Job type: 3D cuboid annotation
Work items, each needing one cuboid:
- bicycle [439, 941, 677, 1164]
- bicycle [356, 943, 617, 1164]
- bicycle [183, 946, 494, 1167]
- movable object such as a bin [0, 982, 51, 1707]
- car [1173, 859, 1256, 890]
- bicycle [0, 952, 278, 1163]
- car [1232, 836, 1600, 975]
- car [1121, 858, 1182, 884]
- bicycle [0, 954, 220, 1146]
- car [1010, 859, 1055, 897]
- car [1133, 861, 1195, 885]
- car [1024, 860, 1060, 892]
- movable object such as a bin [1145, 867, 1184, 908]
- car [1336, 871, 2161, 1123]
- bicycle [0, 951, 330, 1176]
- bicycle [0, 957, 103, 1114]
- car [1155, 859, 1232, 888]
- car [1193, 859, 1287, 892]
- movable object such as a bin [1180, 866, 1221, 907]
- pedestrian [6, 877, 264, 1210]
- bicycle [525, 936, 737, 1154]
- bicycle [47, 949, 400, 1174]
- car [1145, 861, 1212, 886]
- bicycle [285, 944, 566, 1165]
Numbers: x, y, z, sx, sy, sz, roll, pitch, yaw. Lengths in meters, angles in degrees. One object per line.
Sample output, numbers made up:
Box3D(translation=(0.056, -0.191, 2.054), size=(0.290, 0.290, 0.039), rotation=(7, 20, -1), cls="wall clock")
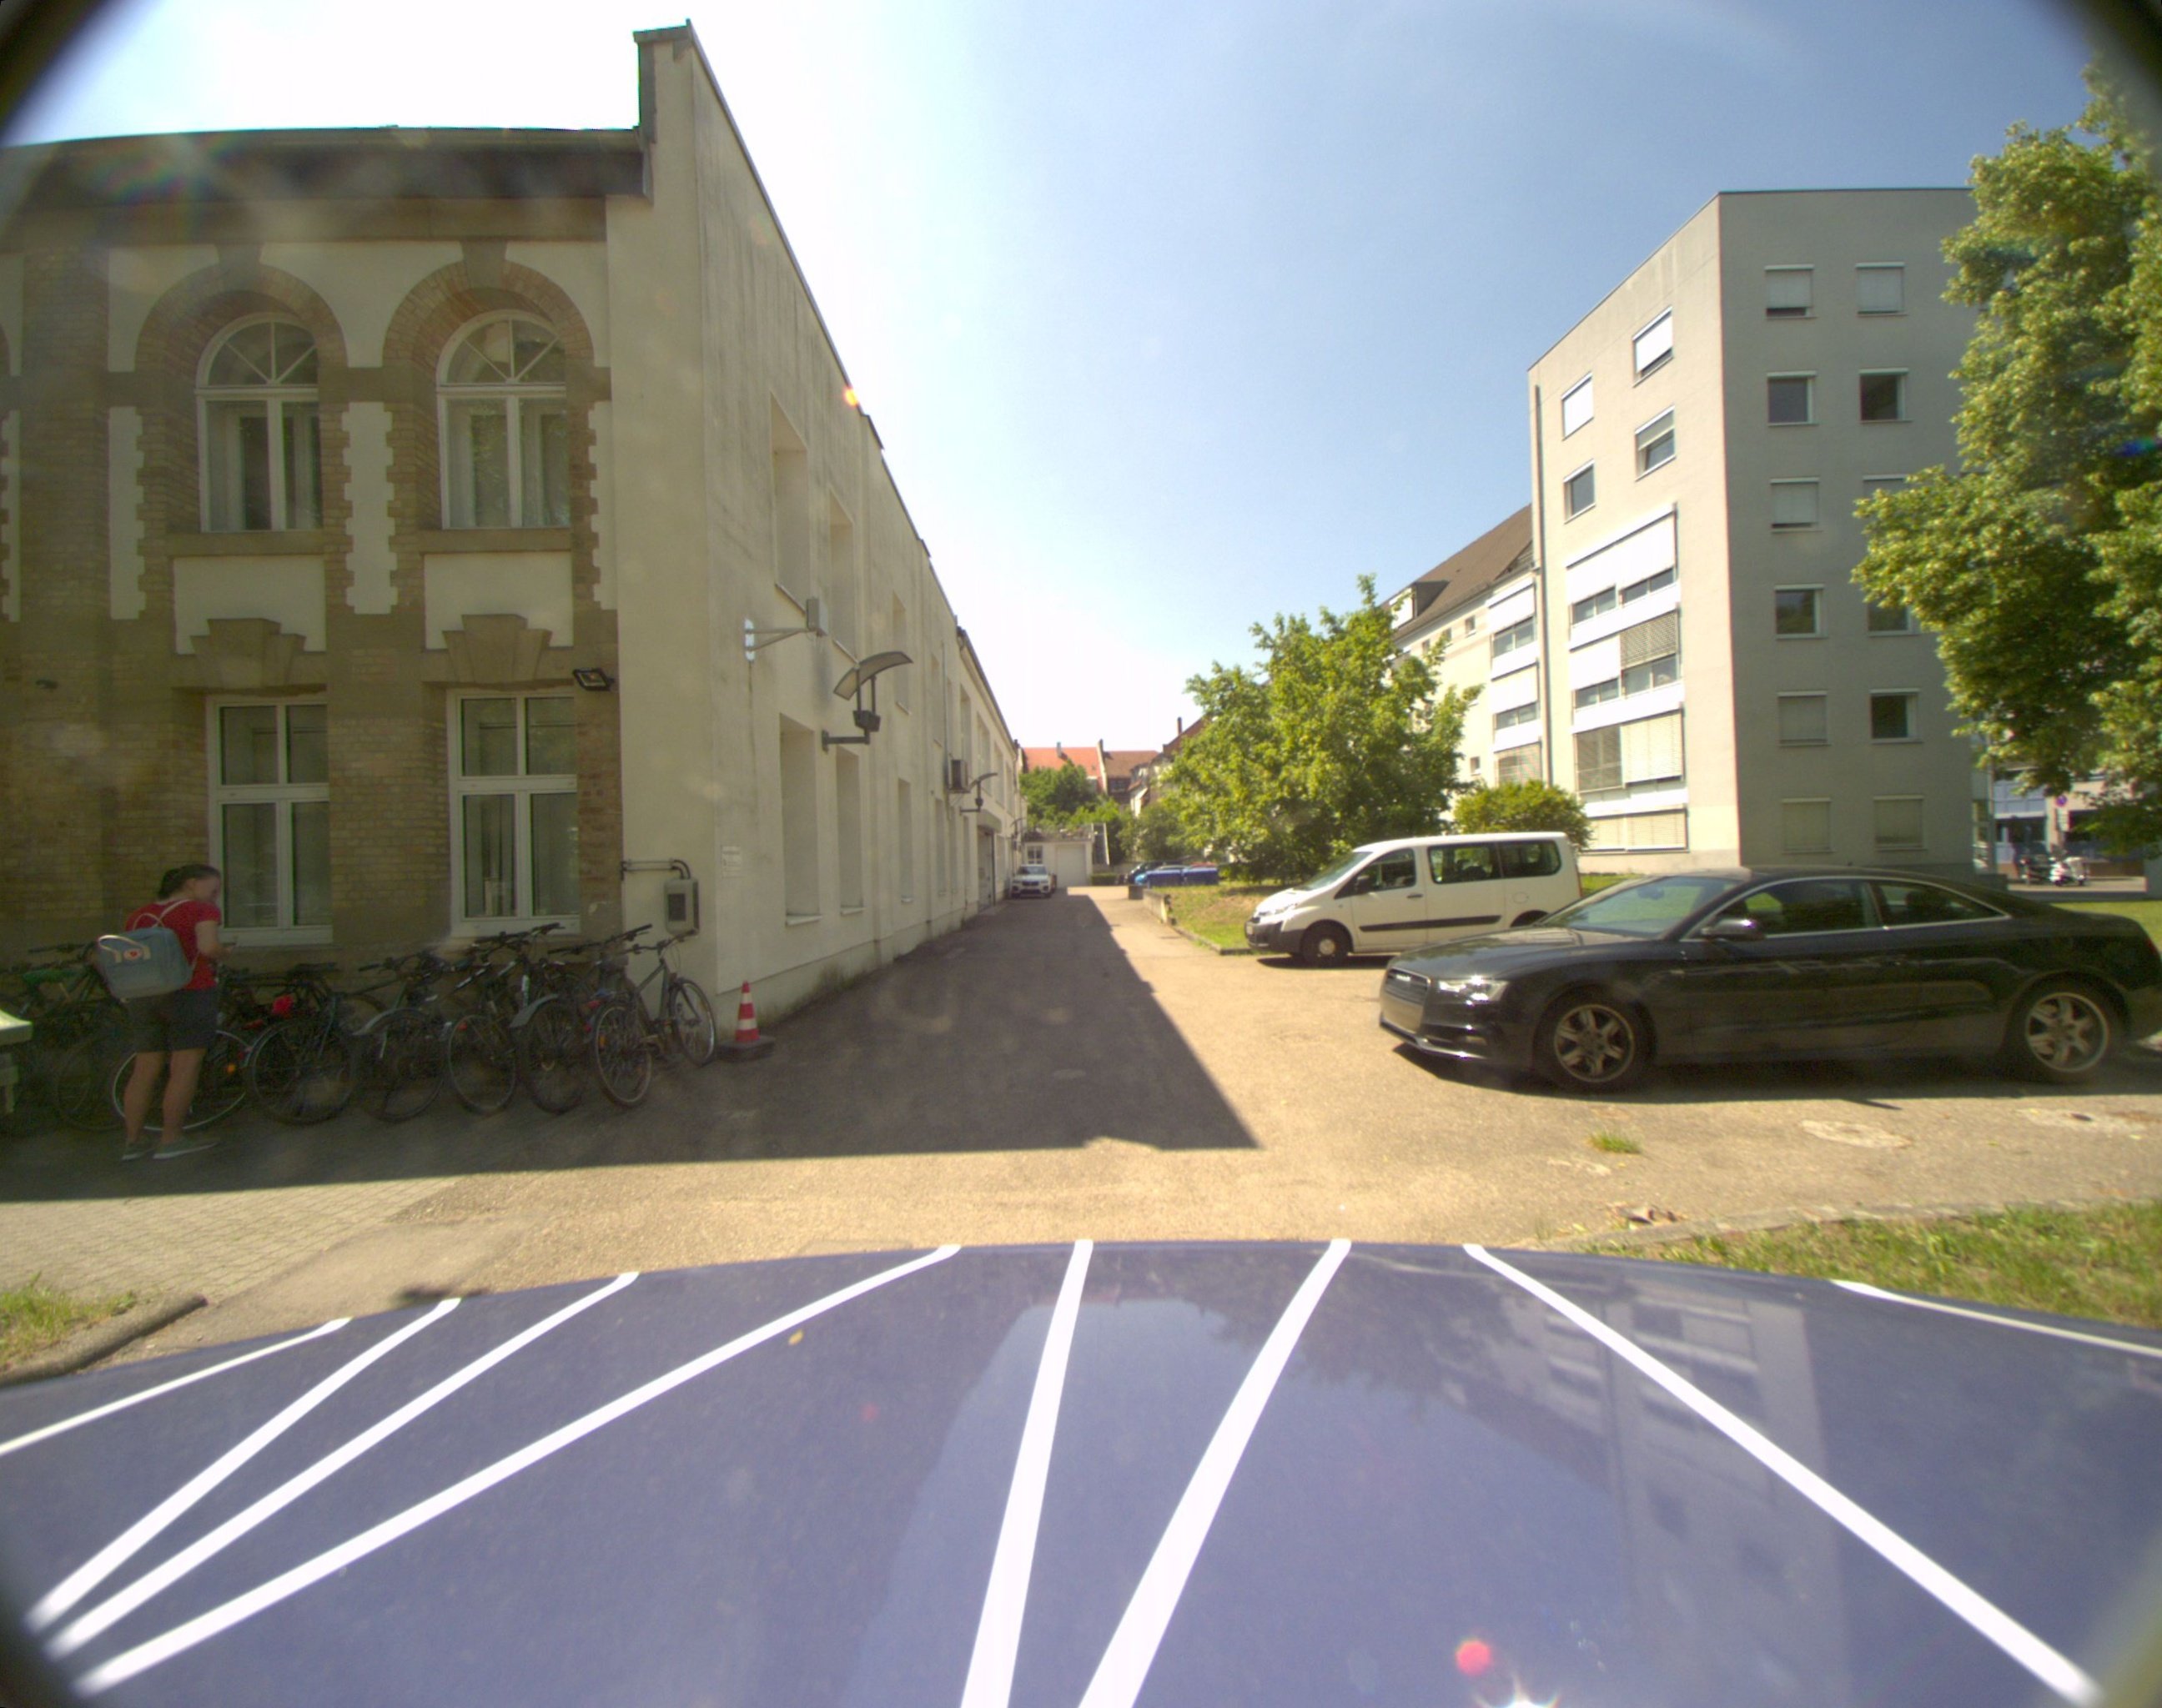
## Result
Box3D(translation=(-3.577, 1.280, 5.407), size=(0.406, 1.095, 1.826), rotation=(-2, 0, 0), cls="bicycle")
Box3D(translation=(-4.094, 1.294, 5.435), size=(0.406, 1.095, 1.826), rotation=(-2, 0, 0), cls="bicycle")
Box3D(translation=(-5.145, 1.323, 5.457), size=(0.406, 1.095, 1.826), rotation=(-2, 0, 0), cls="bicycle")
Box3D(translation=(-2.642, 0.996, 0.838), size=(1.078, 1.449, 1.377), rotation=(-2, 0, 1), cls="movable object such as a bin")
Box3D(translation=(7.334, 1.114, 41.863), size=(4.224, 1.559, 1.612), rotation=(-2, 0, -6), cls="car")
Box3D(translation=(-6.902, 1.371, 5.404), size=(0.406, 1.095, 1.826), rotation=(-2, 0, 0), cls="bicycle")
Box3D(translation=(5.008, 0.749, 11.956), size=(4.859, 1.872, 2.067), rotation=(-2, 0, 2), cls="car")
Box3D(translation=(5.320, 1.238, 57.758), size=(4.224, 1.812, 2.009), rotation=(-2, 0, -6), cls="car")
Box3D(translation=(-7.353, 1.383, 5.381), size=(0.406, 1.095, 1.826), rotation=(-2, 0, 0), cls="bicycle")
Box3D(translation=(-2.442, 1.207, 39.606), size=(2.011, 1.792, 4.727), rotation=(-2, 0, 0), cls="car")
Box3D(translation=(5.973, 1.349, 54.829), size=(4.224, 1.559, 1.612), rotation=(-2, 0, -6), cls="car")
Box3D(translation=(-2.446, 1.352, 48.409), size=(2.011, 1.792, 4.727), rotation=(-2, 0, 0), cls="car")
Box3D(translation=(2.993, 1.192, 27.395), size=(1.271, 1.380, 1.095), rotation=(-2, 0, 0), cls="movable object such as a bin")
Box3D(translation=(4.400, 0.881, 5.449), size=(4.440, 1.371, 2.025), rotation=(-2, -2, 2), cls="car")
Box3D(translation=(-6.460, 1.359, 5.399), size=(0.406, 1.095, 1.826), rotation=(-2, 0, 0), cls="bicycle")
Box3D(translation=(-8.340, 1.410, 5.390), size=(0.406, 1.095, 1.826), rotation=(-2, 0, 0), cls="bicycle")
Box3D(translation=(6.644, 1.164, 45.161), size=(4.224, 1.559, 1.612), rotation=(-2, 0, -6), cls="car")
Box3D(translation=(8.149, 1.094, 39.166), size=(4.445, 1.559, 1.612), rotation=(-2, 0, -6), cls="car")
Box3D(translation=(4.291, 1.157, 27.433), size=(1.271, 1.380, 1.095), rotation=(-2, 0, 0), cls="movable object such as a bin")
Box3D(translation=(-5.387, 1.019, 4.374), size=(0.552, 1.738, 0.689), rotation=(-2, 1, 1), cls="pedestrian")
Box3D(translation=(-3.108, 1.244, 5.462), size=(0.406, 1.095, 1.826), rotation=(-2, 0, 0), cls="bicycle")
Box3D(translation=(-5.886, 1.343, 5.404), size=(0.406, 1.095, 1.826), rotation=(-2, 0, 0), cls="bicycle")
Box3D(translation=(6.616, 1.315, 51.778), size=(4.224, 1.559, 1.612), rotation=(-2, 0, -6), cls="car")
Box3D(translation=(-4.533, 1.306, 5.455), size=(0.406, 1.095, 1.826), rotation=(-2, 0, 0), cls="bicycle")
